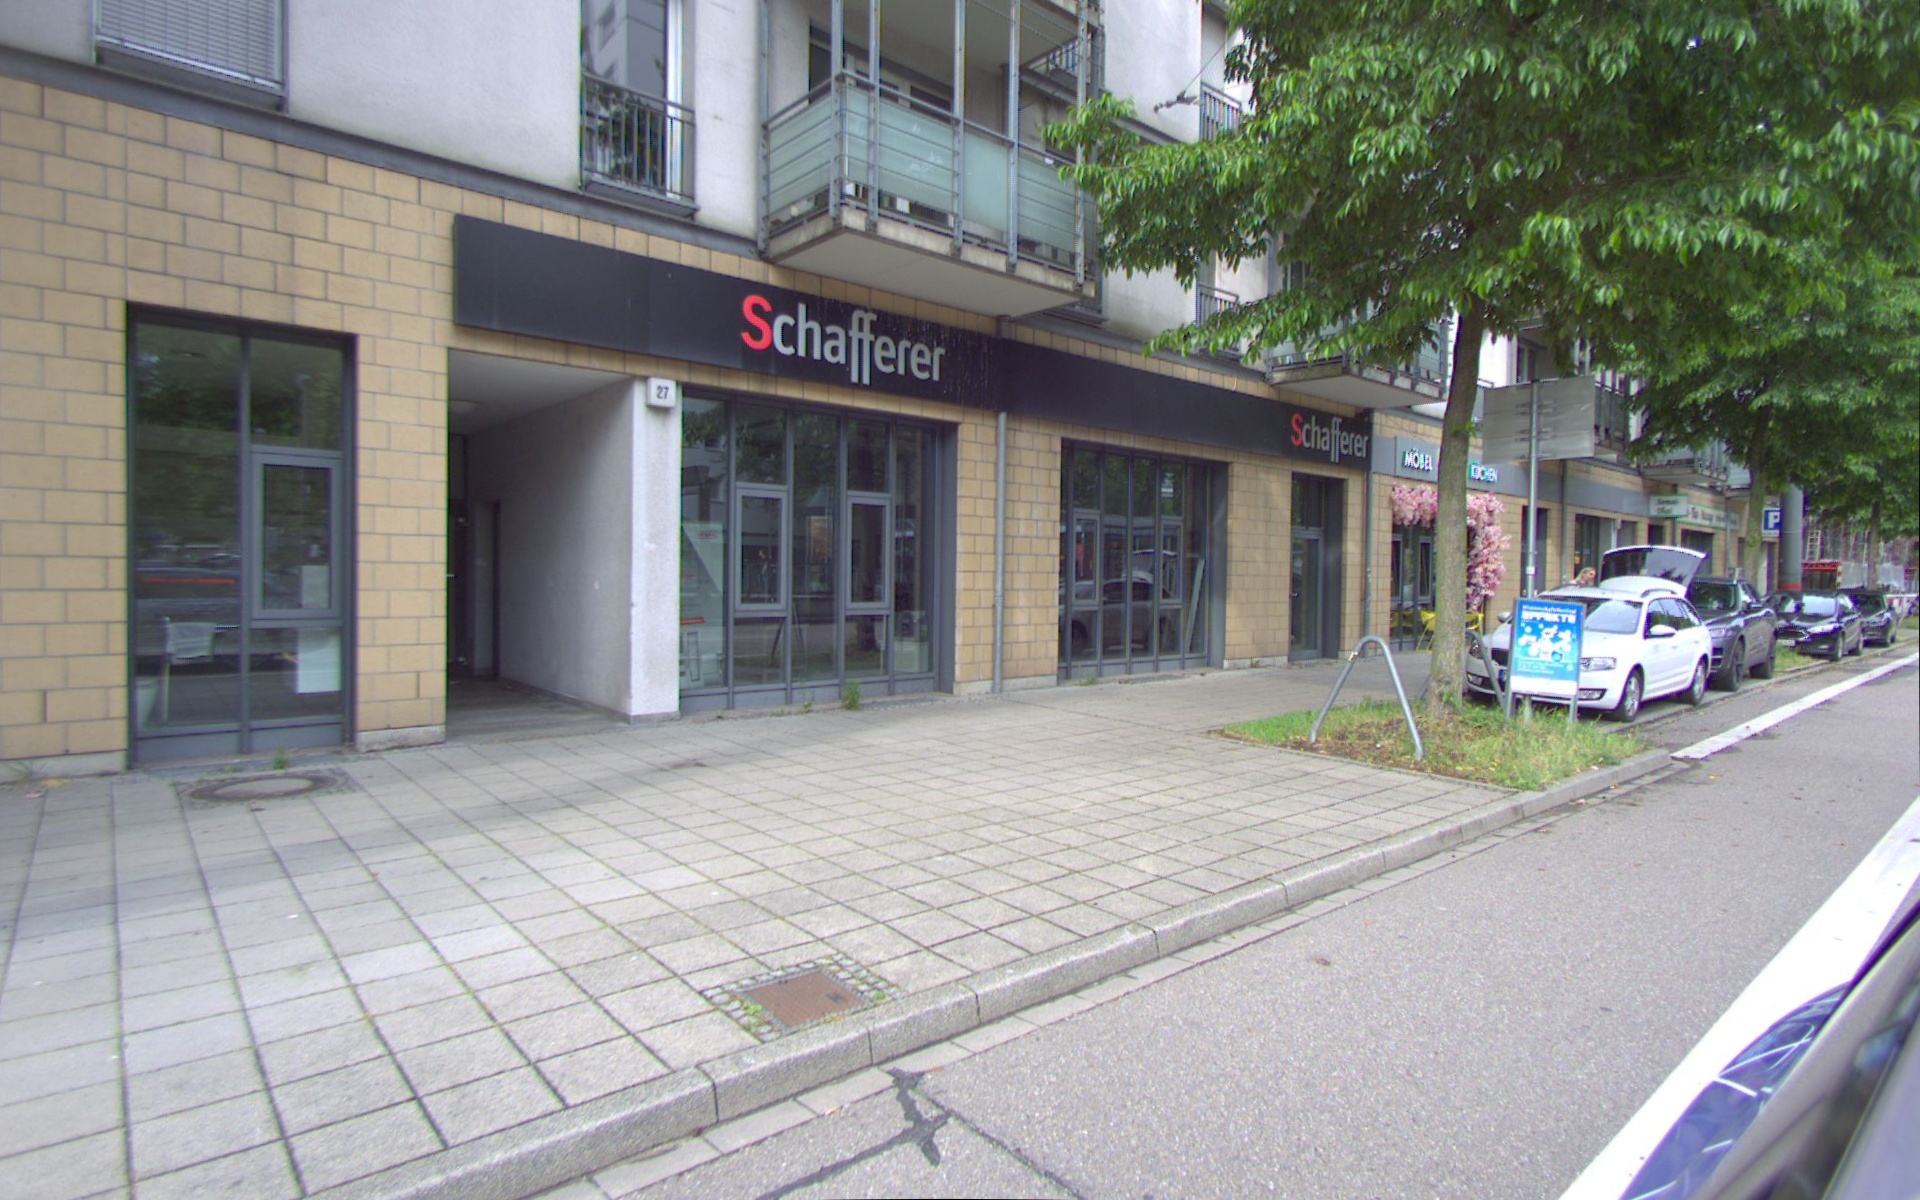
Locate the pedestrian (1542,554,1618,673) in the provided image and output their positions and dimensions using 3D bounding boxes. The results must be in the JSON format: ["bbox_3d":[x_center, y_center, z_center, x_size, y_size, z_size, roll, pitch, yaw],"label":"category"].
[{"bbox_3d":[9.407,0.188,15.358,0.606,1.738,0.739,0,2,-34],"label":"pedestrian"}]

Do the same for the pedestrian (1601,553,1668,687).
[{"bbox_3d":[9.833,0.273,14.751,0.588,1.907,0.656,0,1,-41],"label":"pedestrian"}]

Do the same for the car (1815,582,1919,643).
[{"bbox_3d":[24.144,0.287,26.858,3.603,1.417,1.612,-1,5,-41],"label":"car"}]

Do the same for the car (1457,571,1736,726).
[{"bbox_3d":[8.110,0.474,12.742,4.233,1.539,1.738,-1,5,-41],"label":"car"}]

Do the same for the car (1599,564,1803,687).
[{"bbox_3d":[11.783,0.318,16.016,3.732,1.630,1.738,-1,5,-41],"label":"car"}]

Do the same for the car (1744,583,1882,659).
[{"bbox_3d":[18.623,0.386,22.032,4.095,1.394,1.612,-1,5,-41],"label":"car"}]
